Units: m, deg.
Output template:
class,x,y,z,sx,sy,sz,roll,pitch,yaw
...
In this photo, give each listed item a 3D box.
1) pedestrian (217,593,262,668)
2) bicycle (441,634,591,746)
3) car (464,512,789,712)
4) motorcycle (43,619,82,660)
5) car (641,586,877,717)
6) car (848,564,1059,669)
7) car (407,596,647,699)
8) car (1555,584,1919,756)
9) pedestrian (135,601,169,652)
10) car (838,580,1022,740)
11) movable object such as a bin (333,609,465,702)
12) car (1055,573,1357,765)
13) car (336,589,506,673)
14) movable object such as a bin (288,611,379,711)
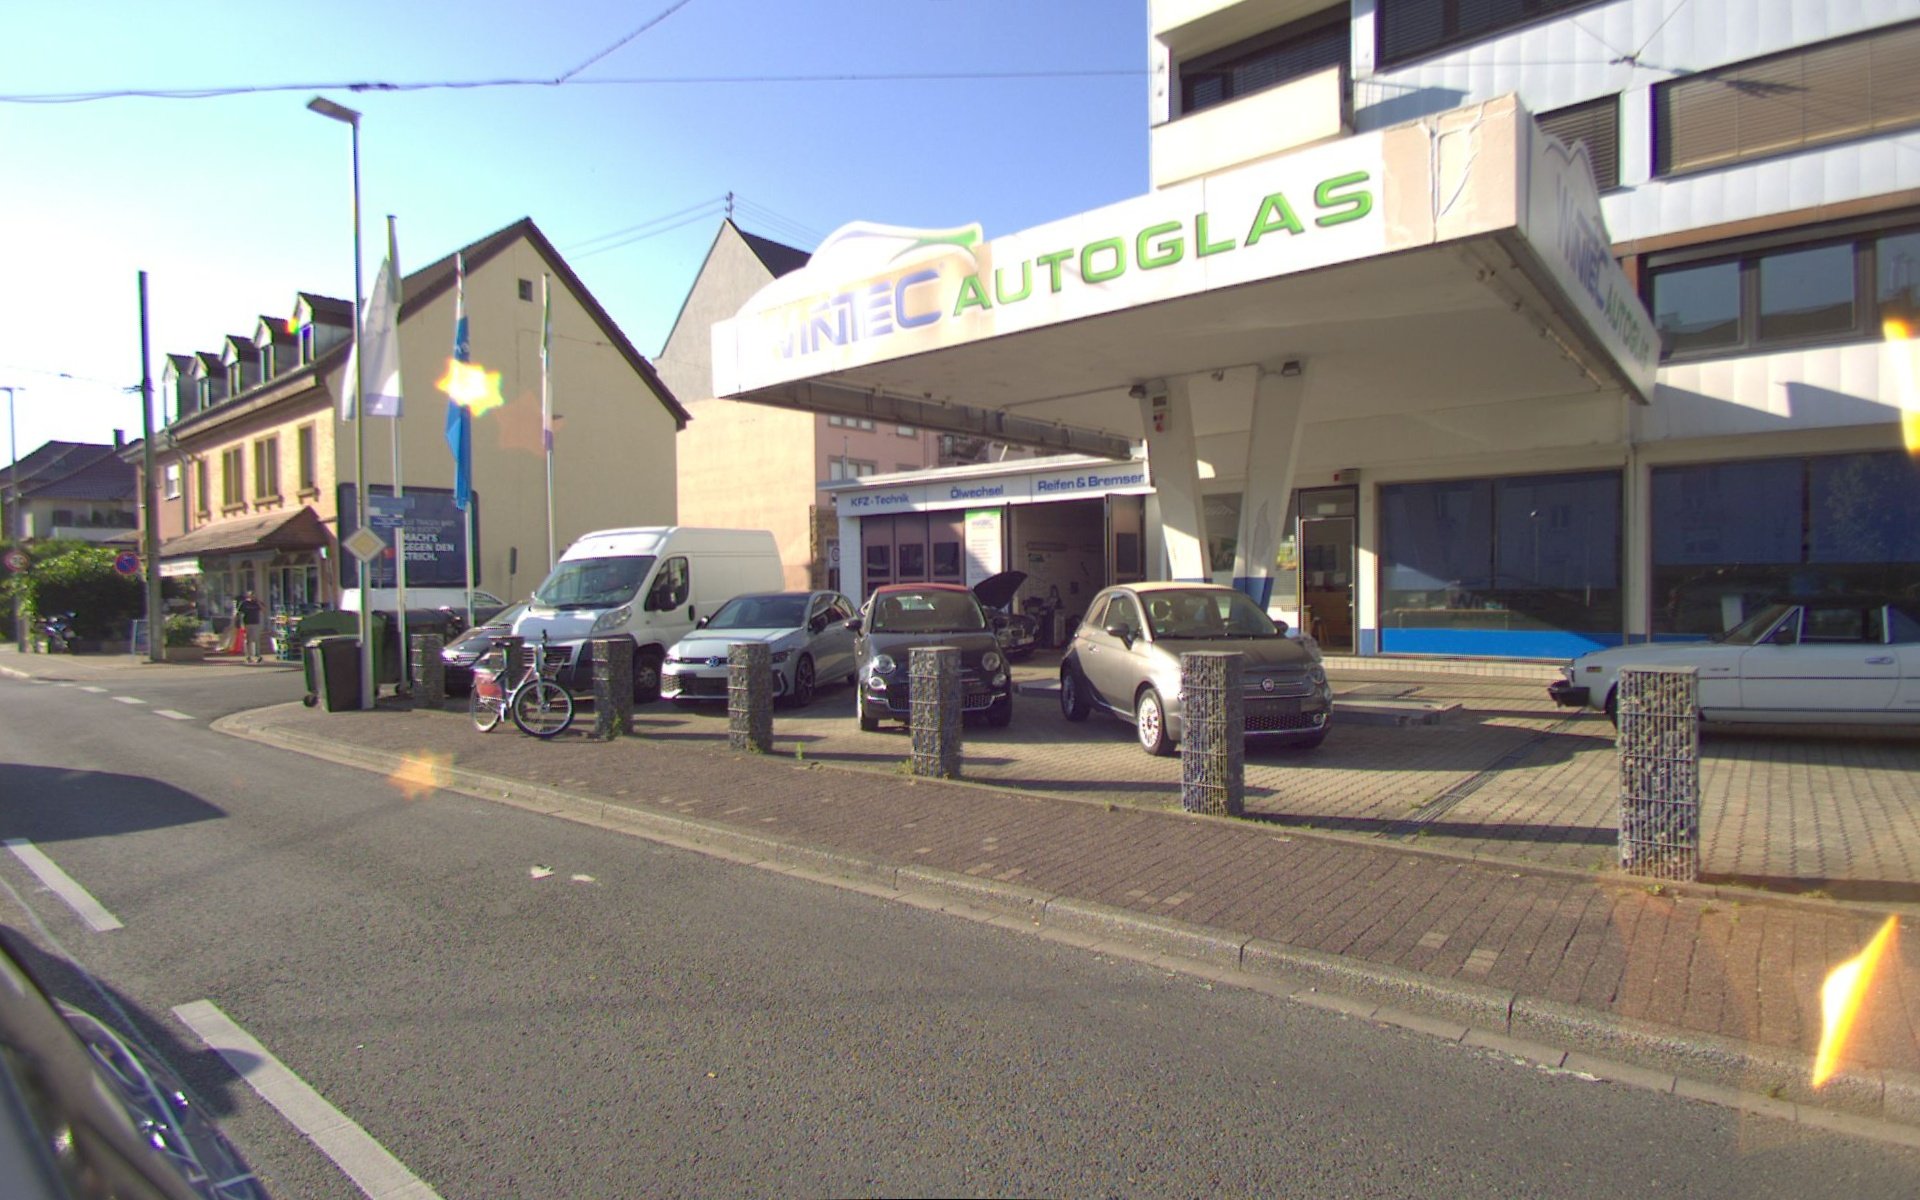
class,x,y,z,sx,sy,sz,roll,pitch,yaw
pedestrian,-18.395,0.766,25.840,0.811,1.866,0.767,-1,0,-45
bicycle,-4.896,0.941,11.121,1.789,1.094,0.716,-1,1,37
car,-4.688,0.132,15.222,2.098,2.472,4.963,-1,0,18
motorcycle,-27.967,1.204,31.528,2.186,1.226,0.699,-1,0,43
car,-2.532,0.589,13.803,1.725,1.508,4.016,-1,0,12
car,-0.207,0.321,20.918,4.255,1.958,1.720,-1,0,40
car,-7.063,0.704,17.007,1.725,1.488,4.016,-1,0,12
car,7.385,0.543,8.569,3.898,1.308,1.506,-1,-1,37
pedestrian,-27.770,0.901,34.778,0.859,1.726,0.799,-1,0,42
car,-0.483,0.565,11.507,1.569,1.508,3.443,-1,0,-10
movable object such as a bin,-9.577,0.915,17.368,1.039,1.475,1.787,-1,0,15
car,2.153,0.536,9.792,1.517,1.497,3.381,-1,0,-11
car,-13.893,0.739,26.251,1.449,2.029,3.628,-1,0,37
movable object such as a bin,-9.706,0.917,15.712,1.030,1.475,0.798,-1,0,-18
